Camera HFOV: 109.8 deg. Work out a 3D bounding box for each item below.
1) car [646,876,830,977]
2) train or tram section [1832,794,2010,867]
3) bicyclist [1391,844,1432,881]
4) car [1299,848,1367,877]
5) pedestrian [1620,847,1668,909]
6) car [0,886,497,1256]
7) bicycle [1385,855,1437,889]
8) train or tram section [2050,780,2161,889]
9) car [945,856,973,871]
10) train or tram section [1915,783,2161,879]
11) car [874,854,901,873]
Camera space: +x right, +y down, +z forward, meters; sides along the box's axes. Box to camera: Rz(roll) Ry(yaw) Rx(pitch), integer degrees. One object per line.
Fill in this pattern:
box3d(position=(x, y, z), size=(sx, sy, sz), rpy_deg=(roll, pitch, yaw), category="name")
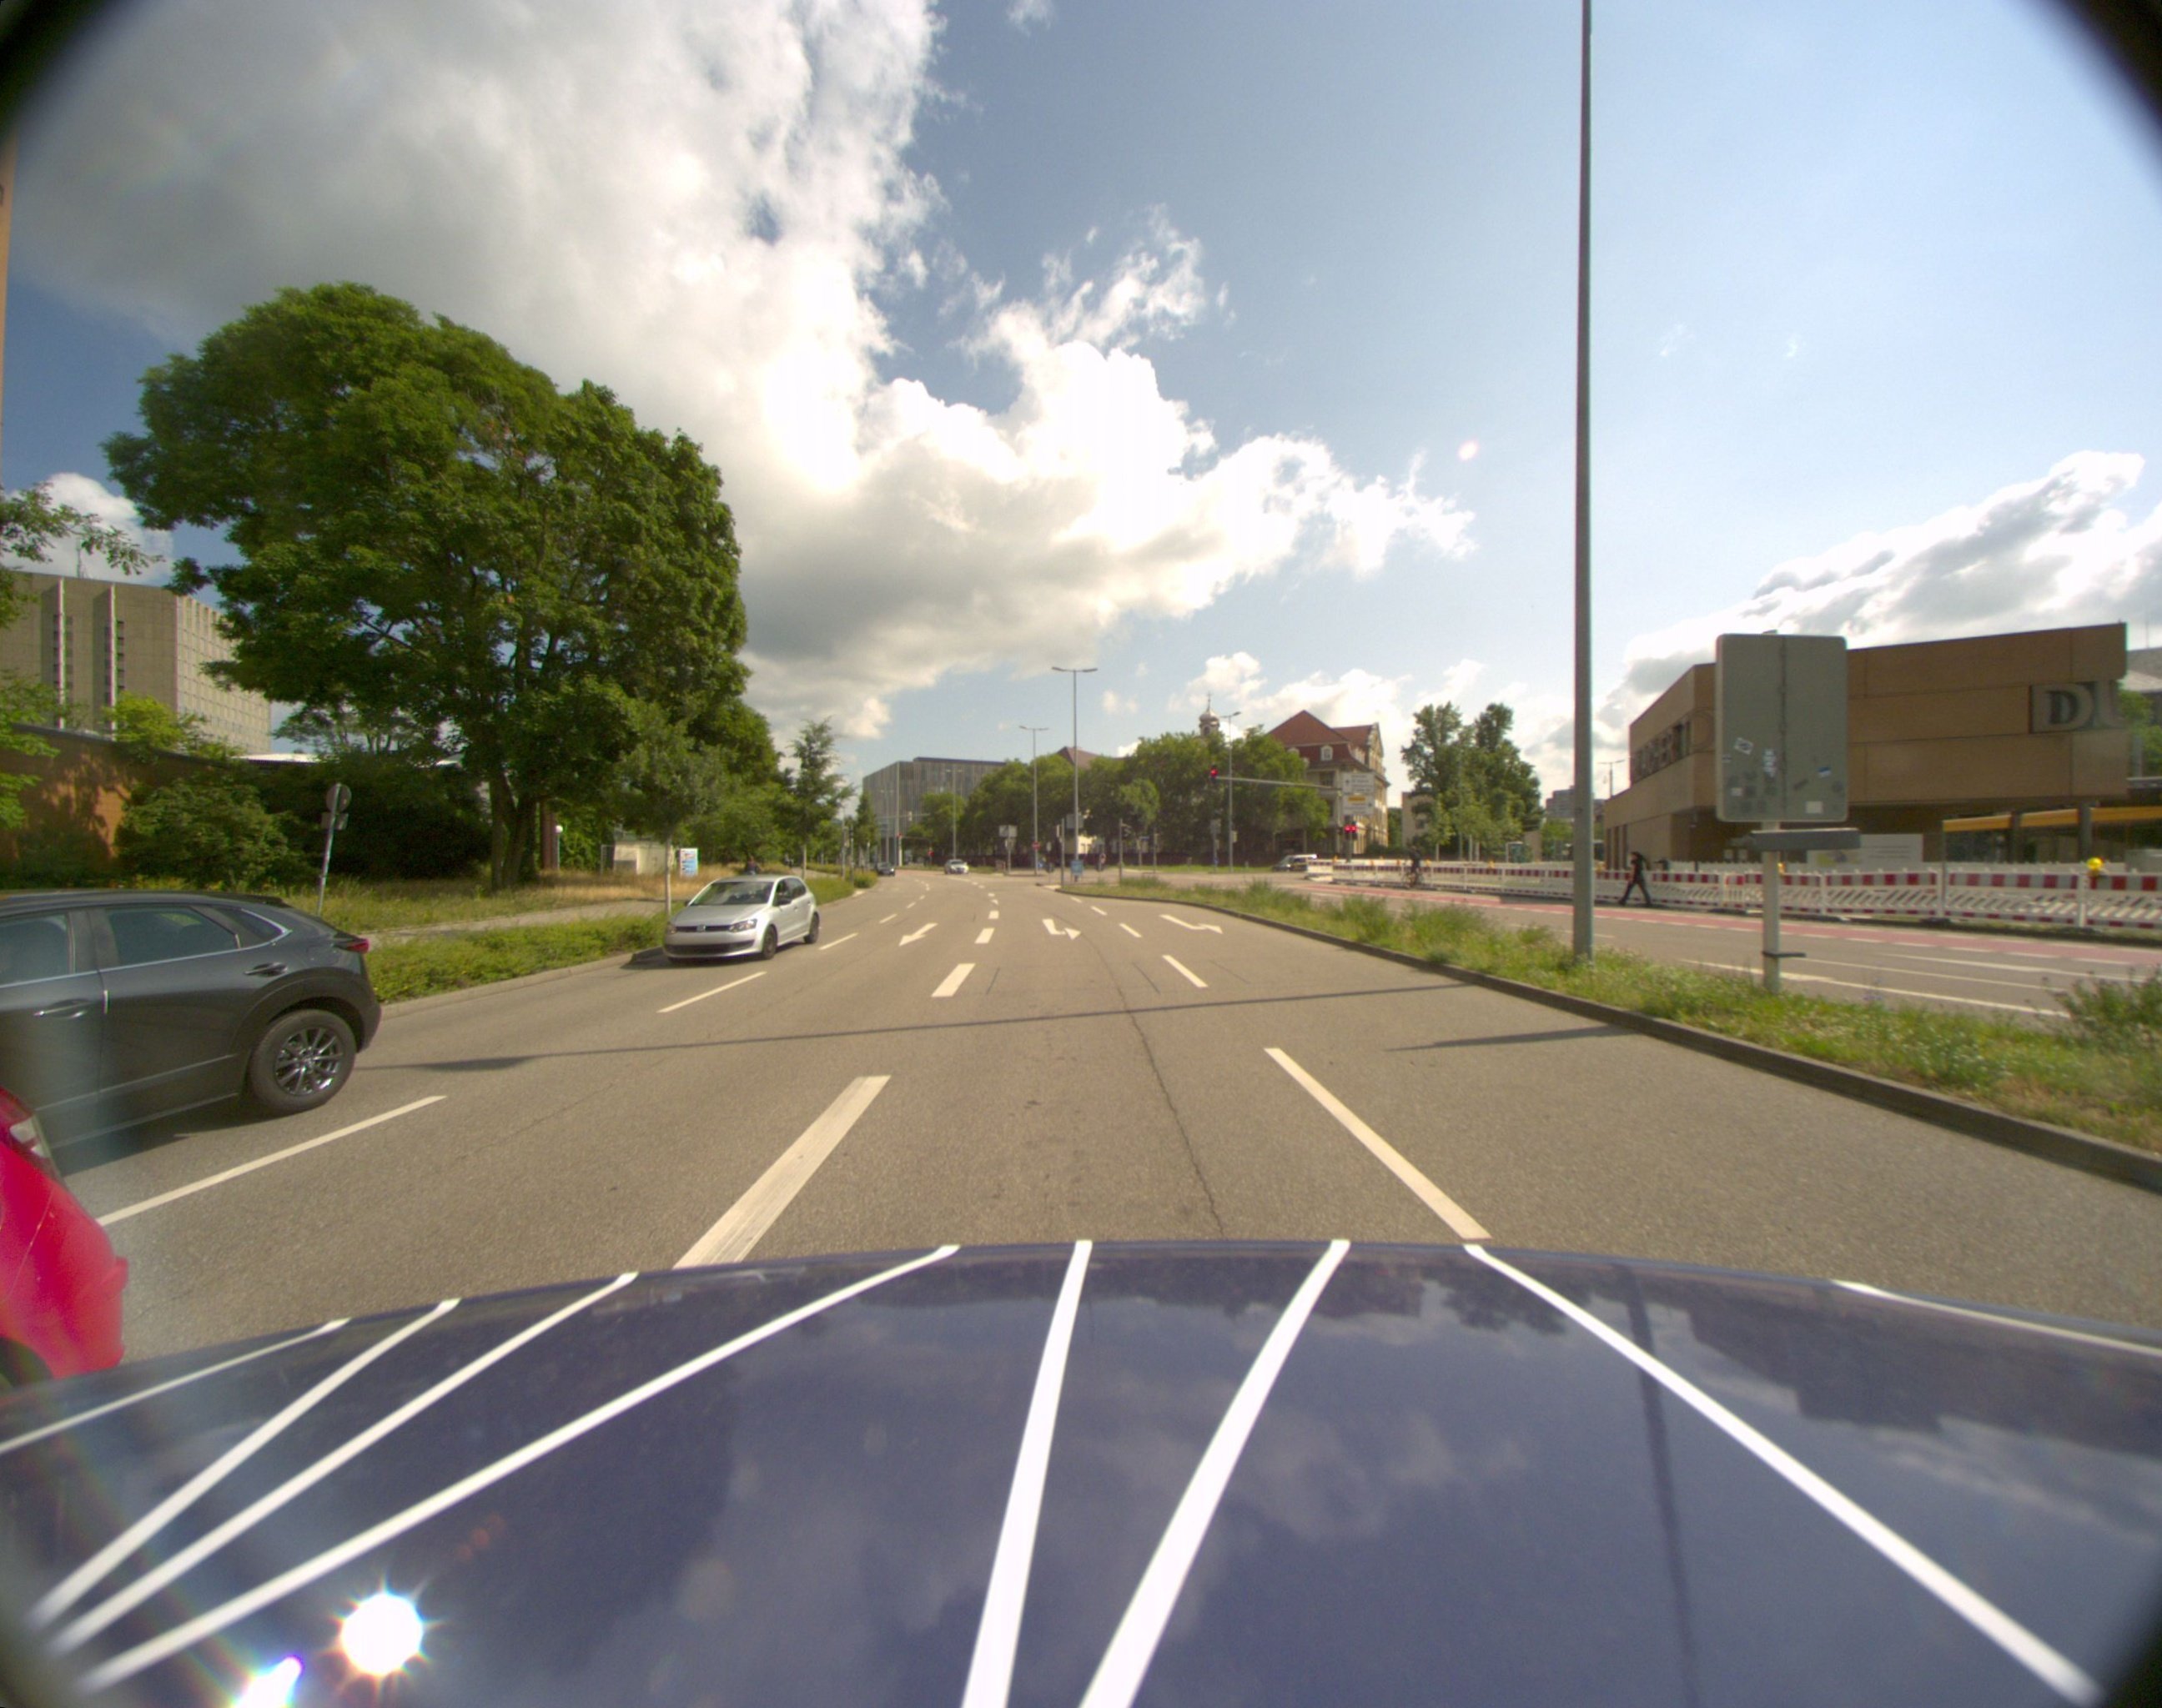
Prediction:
box3d(position=(-6.044, 1.195, 13.953), size=(1.587, 1.377, 4.077), rpy_deg=(-2, 1, -2), category="car")
box3d(position=(45.884, -1.260, 42.079), size=(3.316, 3.461, 10.626), rpy_deg=(-2, 1, 29), category="train or tram section")
box3d(position=(14.246, 0.365, 32.809), size=(0.778, 1.554, 1.774), rpy_deg=(-1, 0, -9), category="bicyclist")
box3d(position=(15.981, 0.514, 48.184), size=(3.991, 1.772, 2.003), rpy_deg=(0, 0, 21), category="car")
box3d(position=(16.374, 0.679, 22.124), size=(0.653, 1.754, 1.001), rpy_deg=(0, 0, 0), category="pedestrian")
box3d(position=(-5.903, 1.114, 4.453), size=(1.645, 1.567, 4.211), rpy_deg=(-2, 1, 0), category="car")
box3d(position=(14.186, 0.760, 32.755), size=(0.973, 1.402, 2.292), rpy_deg=(-1, 0, -9), category="bicycle")
box3d(position=(35.705, -0.657, 23.401), size=(3.316, 3.461, 10.626), rpy_deg=(-2, 1, 29), category="train or tram section")
box3d(position=(-12.529, 0.947, 77.916), size=(1.834, 1.516, 3.992), rpy_deg=(0, 0, -25), category="car")
box3d(position=(40.780, -0.957, 32.665), size=(3.316, 3.461, 10.626), rpy_deg=(-2, 1, 29), category="train or tram section")
box3d(position=(-19.218, 0.929, 75.468), size=(2.002, 1.745, 3.992), rpy_deg=(-2, 1, -22), category="car")
